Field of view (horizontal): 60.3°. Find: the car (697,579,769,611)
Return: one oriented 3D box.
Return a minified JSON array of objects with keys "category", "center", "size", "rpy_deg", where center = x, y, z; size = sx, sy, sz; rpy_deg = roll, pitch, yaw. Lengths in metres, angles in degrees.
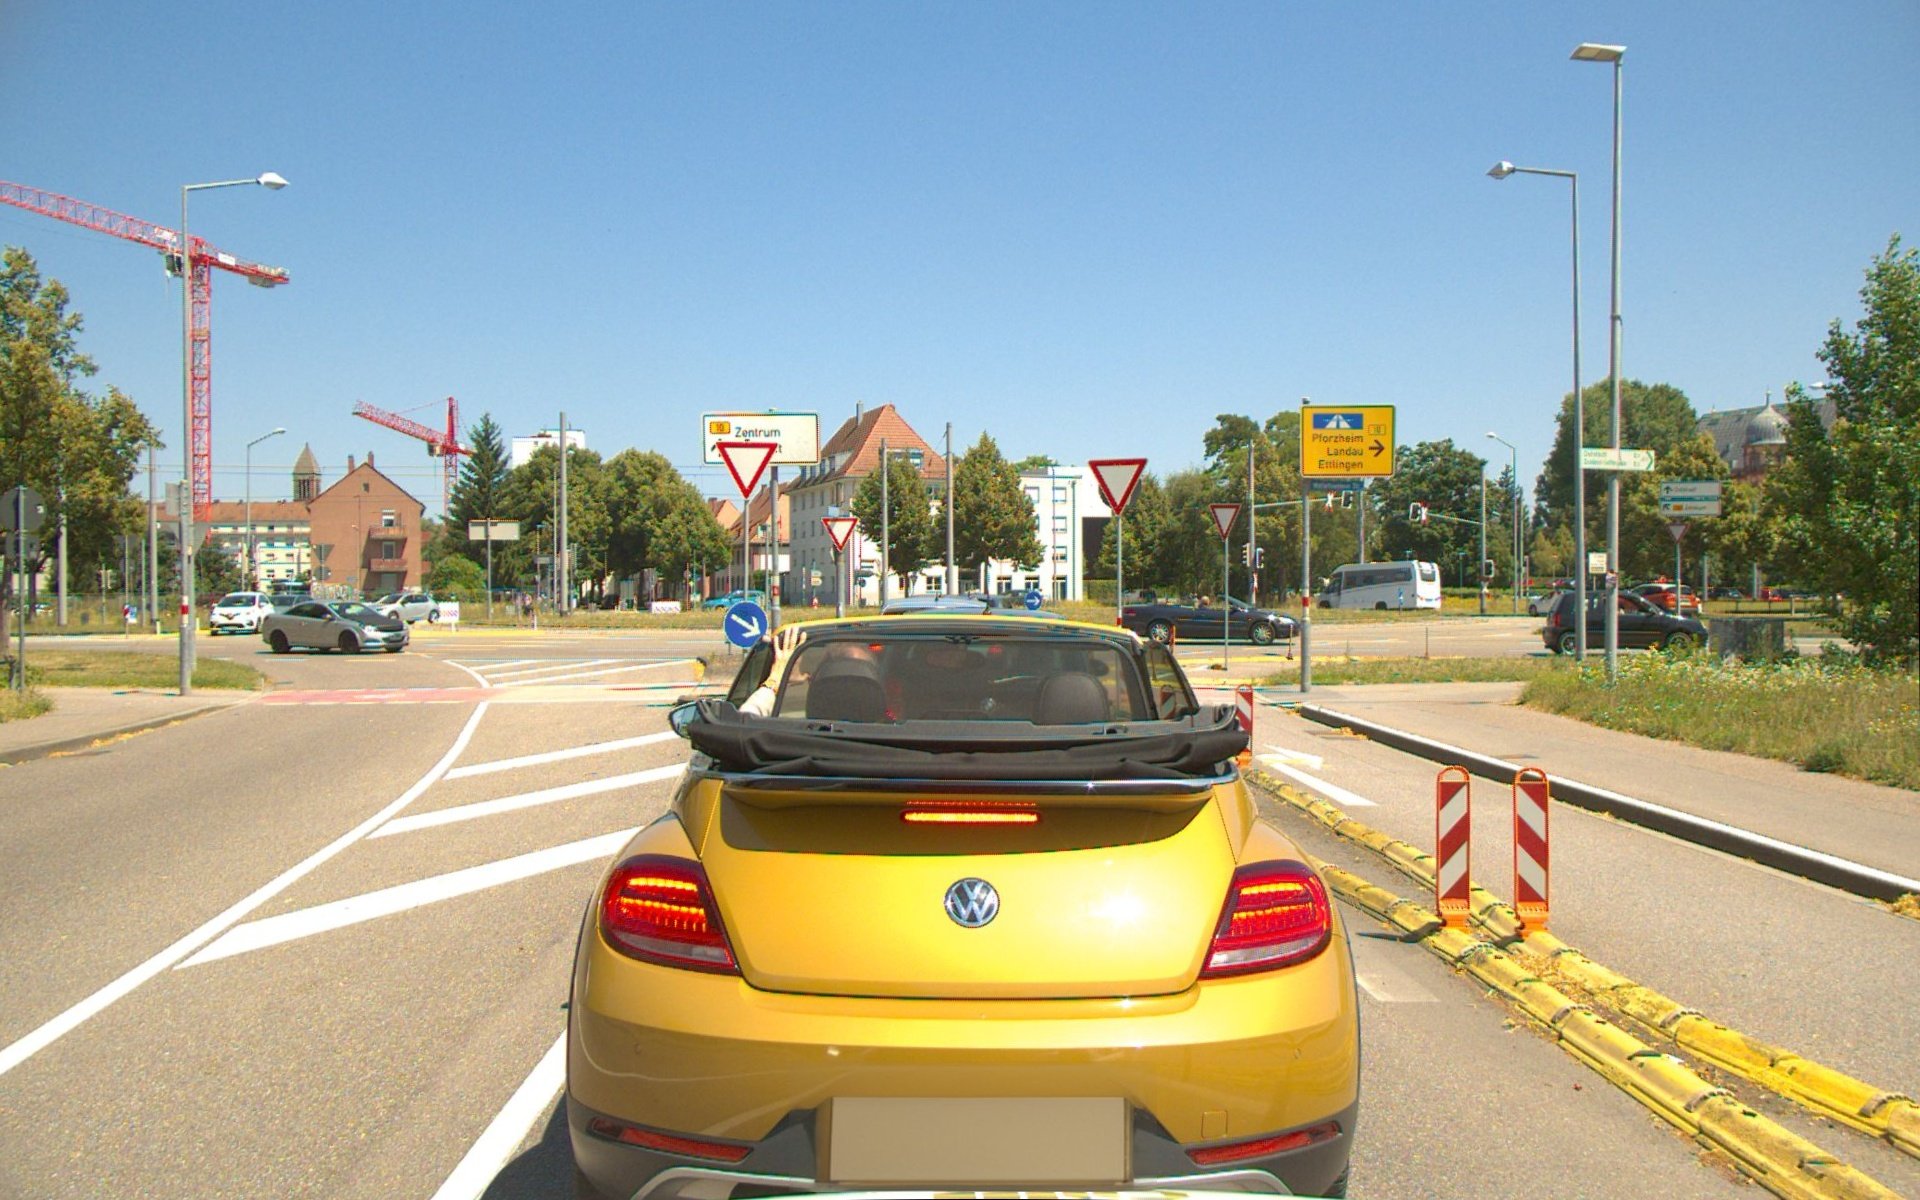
[{"category":"car","center":[-13.442,-0.307,98.048],"size":[3.929,1.870,1.988],"rpy_deg":[0,0,-21]}]

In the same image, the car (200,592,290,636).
[{"category":"car","center":[-26.992,0.509,62.554],"size":[1.720,1.576,3.999],"rpy_deg":[0,0,-1]}]

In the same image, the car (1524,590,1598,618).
[{"category":"car","center":[32.230,0.219,88.767],"size":[1.628,1.449,3.766],"rpy_deg":[0,0,-24]}]

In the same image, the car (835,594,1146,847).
[{"category":"car","center":[0.156,0.702,11.654],"size":[1.810,1.467,3.999],"rpy_deg":[0,0,-1]}]

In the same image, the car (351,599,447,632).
[{"category":"car","center":[-26.385,0.711,77.941],"size":[1.676,1.526,4.210],"rpy_deg":[0,0,32]}]

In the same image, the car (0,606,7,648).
[{"category":"car","center":[-33.026,0.863,53.547],"size":[3.569,1.339,1.824],"rpy_deg":[0,0,18]}]

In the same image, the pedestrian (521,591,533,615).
[{"category":"pedestrian","center":[-28.742,0.176,109.887],"size":[0.488,1.590,0.590],"rpy_deg":[-1,0,33]}]

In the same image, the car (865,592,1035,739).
[{"category":"car","center":[-0.128,0.661,18.663],"size":[1.701,1.467,3.999],"rpy_deg":[0,0,-1]}]

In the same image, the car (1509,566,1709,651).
[{"category":"car","center":[14.652,0.172,37.561],"size":[3.902,1.847,2.002],"rpy_deg":[0,0,10]}]

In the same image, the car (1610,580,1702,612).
[{"category":"car","center":[29.561,-0.159,70.351],"size":[1.623,1.323,3.780],"rpy_deg":[0,0,-15]}]

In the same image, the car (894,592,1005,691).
[{"category":"car","center":[-0.183,0.636,27.464],"size":[1.701,1.503,3.999],"rpy_deg":[0,0,-1]}]

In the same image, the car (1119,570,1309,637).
[{"category":"car","center":[6.674,0.086,43.651],"size":[4.832,1.685,2.002],"rpy_deg":[0,0,8]}]

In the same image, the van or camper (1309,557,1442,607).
[{"category":"van or camper","center":[23.434,-0.993,93.694],"size":[2.488,2.741,7.410],"rpy_deg":[0,0,-38]}]

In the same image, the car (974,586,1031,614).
[{"category":"car","center":[2.497,0.001,96.803],"size":[3.149,1.634,1.652],"rpy_deg":[0,0,9]}]

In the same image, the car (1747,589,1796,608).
[{"category":"car","center":[76.438,-0.129,155.777],"size":[3.926,1.744,1.989],"rpy_deg":[0,0,-19]}]

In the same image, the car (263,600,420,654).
[{"category":"car","center":[-16.493,0.691,44.051],"size":[4.188,1.339,1.818],"rpy_deg":[0,0,33]}]

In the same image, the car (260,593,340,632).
[{"category":"car","center":[-27.179,0.503,68.267],"size":[1.720,1.576,3.999],"rpy_deg":[0,0,-1]}]

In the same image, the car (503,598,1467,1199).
[{"category":"car","center":[0.018,0.724,4.840],"size":[1.717,1.447,3.776],"rpy_deg":[0,0,-1]}]
